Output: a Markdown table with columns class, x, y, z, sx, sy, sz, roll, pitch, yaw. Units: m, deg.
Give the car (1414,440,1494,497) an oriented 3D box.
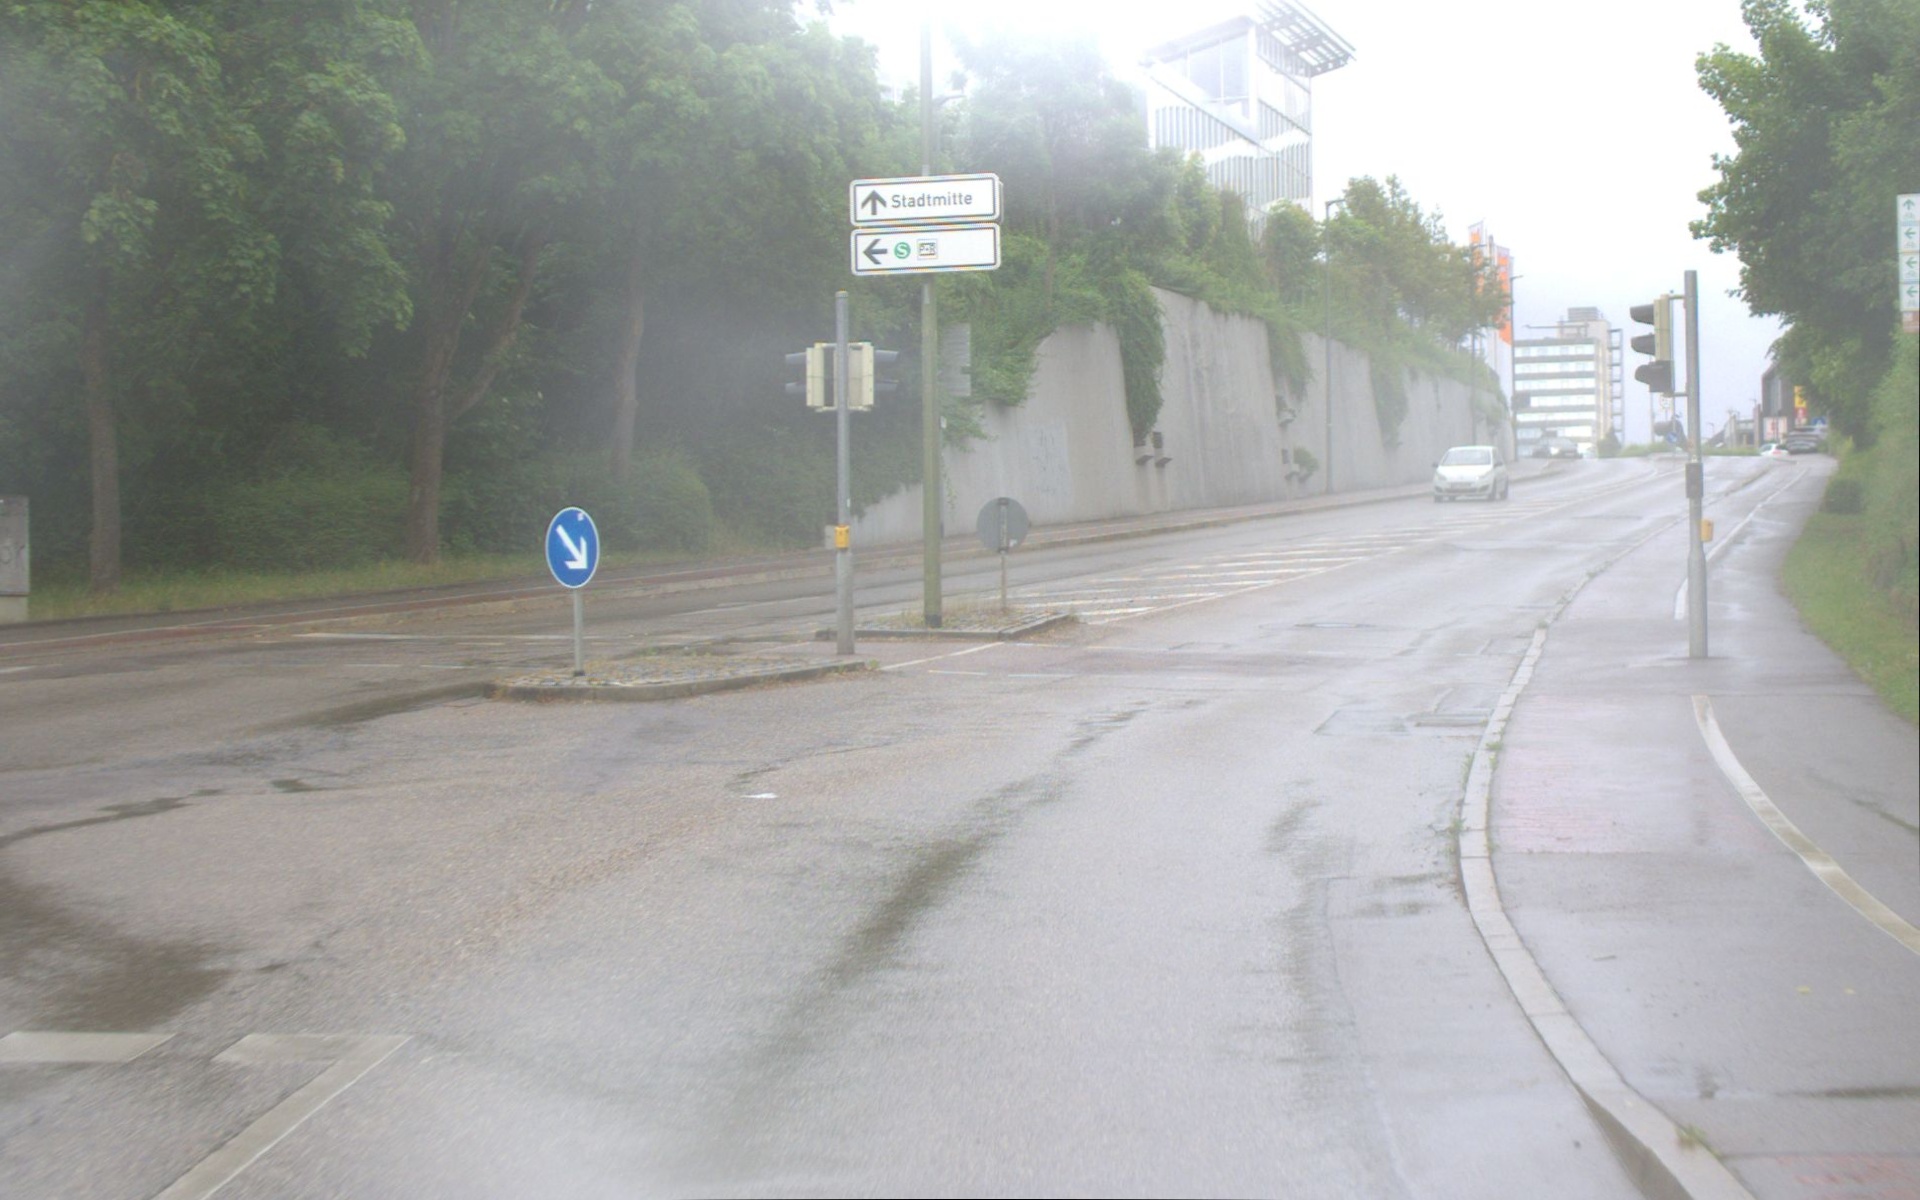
| class | x | y | z | sx | sy | sz | roll | pitch | yaw |
| --- | --- | --- | --- | --- | --- | --- | --- | --- | --- |
| car | 13.319 | -3.537 | 92.832 | 1.512 | 1.443 | 3.817 | 0 | 1 | -1 |
